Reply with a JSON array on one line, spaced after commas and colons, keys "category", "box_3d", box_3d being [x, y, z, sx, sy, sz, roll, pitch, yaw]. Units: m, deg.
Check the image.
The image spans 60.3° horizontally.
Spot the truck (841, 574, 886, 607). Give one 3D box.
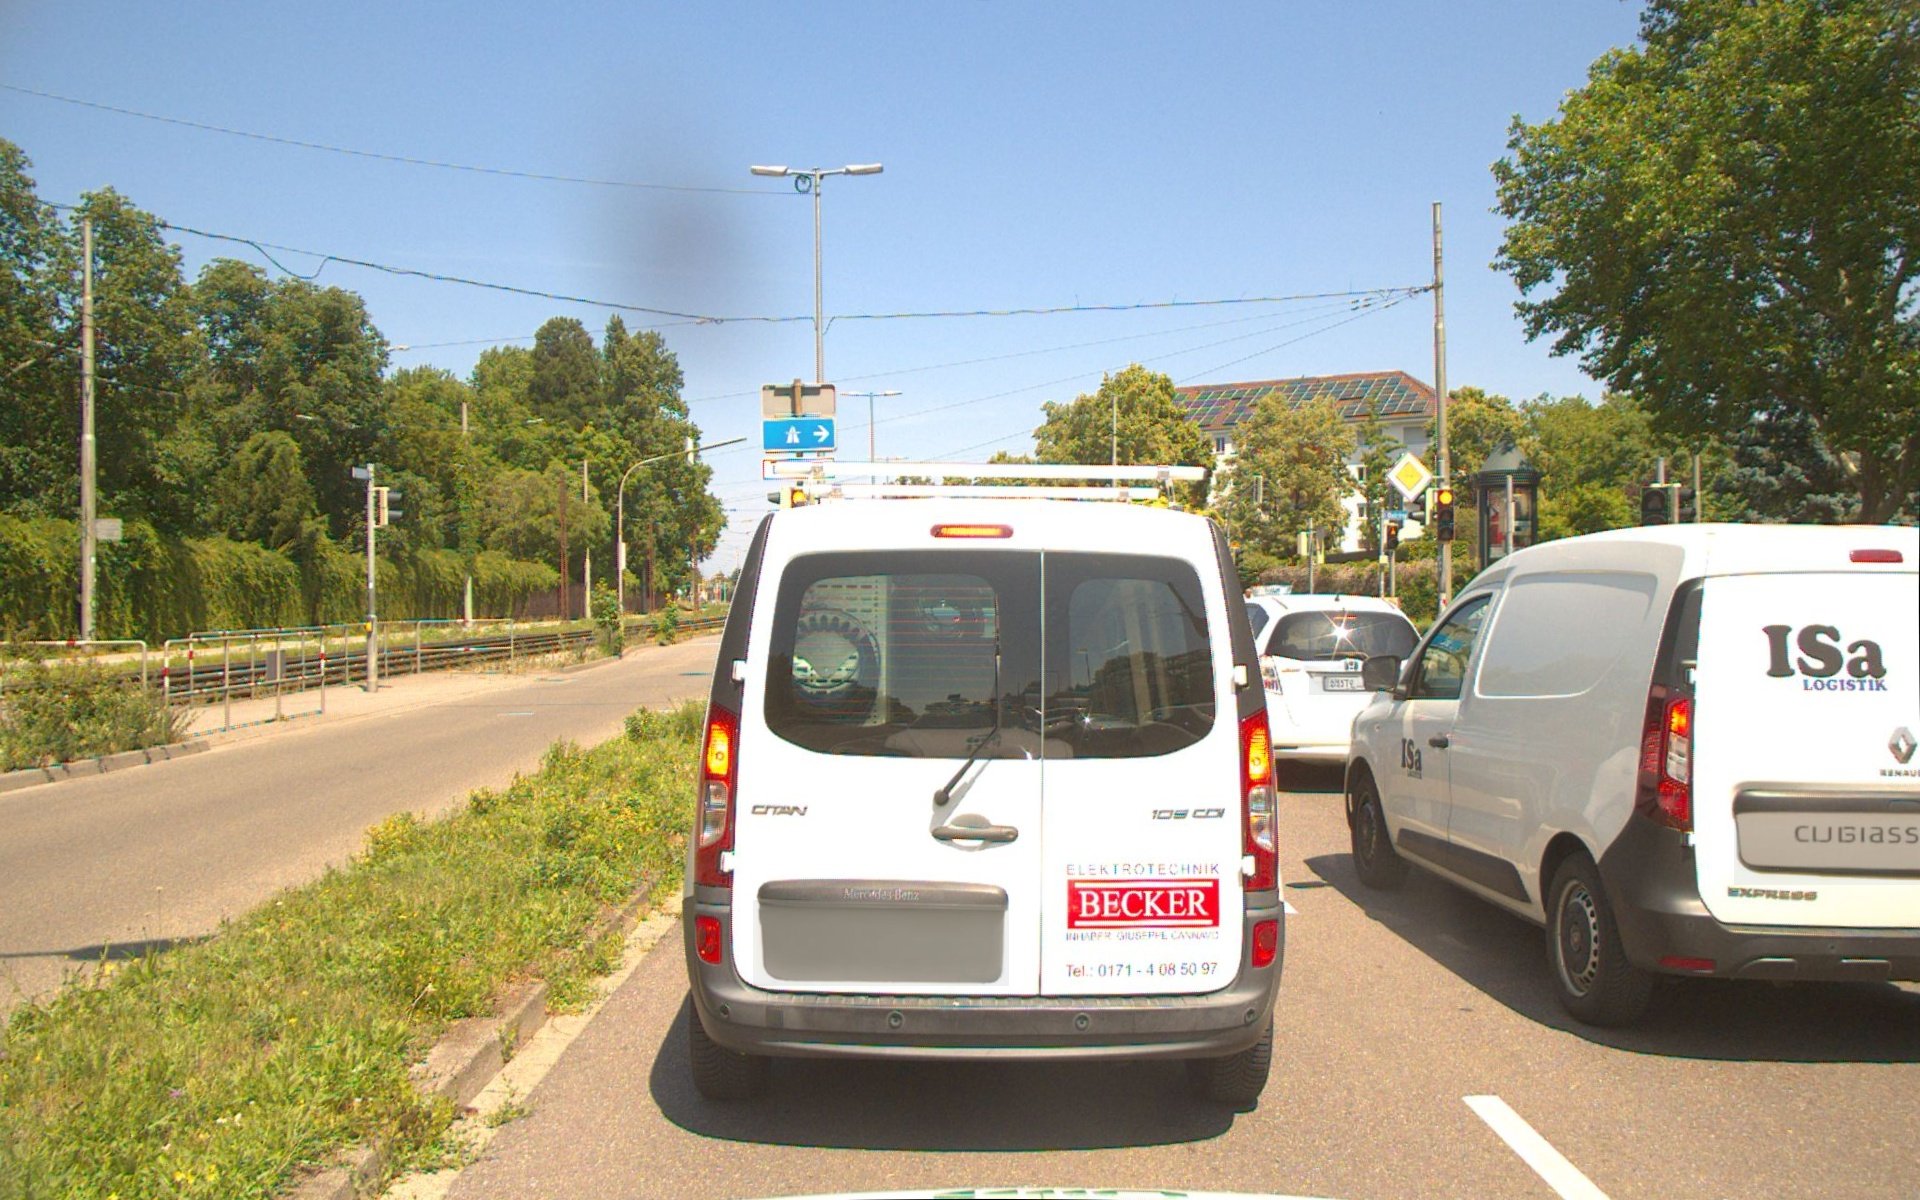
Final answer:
[{"category": "truck", "box_3d": [-11.161, -1.075, 190.182, 3.516, 3.696, 8.775, 0, 0, -14]}]

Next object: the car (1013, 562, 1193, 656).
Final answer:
[{"category": "car", "box_3d": [3.281, 0.191, 38.499, 1.981, 2.049, 3.942, 0, 0, -40]}]

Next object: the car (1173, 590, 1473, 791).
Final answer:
[{"category": "car", "box_3d": [3.043, 0.690, 14.668, 1.720, 1.512, 3.999, 1, 0, -1]}]

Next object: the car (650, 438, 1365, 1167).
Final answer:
[{"category": "car", "box_3d": [0.081, 0.526, 6.199, 1.829, 1.868, 3.847, 1, 0, -2]}]

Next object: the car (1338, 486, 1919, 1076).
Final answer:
[{"category": "car", "box_3d": [3.025, 0.572, 7.262, 1.676, 1.862, 4.012, 0, 0, -2]}]

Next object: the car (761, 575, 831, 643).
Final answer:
[{"category": "car", "box_3d": [-5.200, 0.279, 52.142, 1.957, 2.049, 3.991, 0, 0, -9]}]

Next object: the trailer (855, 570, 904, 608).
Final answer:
[{"category": "trailer", "box_3d": [-8.943, -1.189, 181.615, 3.470, 4.121, 8.938, 0, 0, -16]}]
